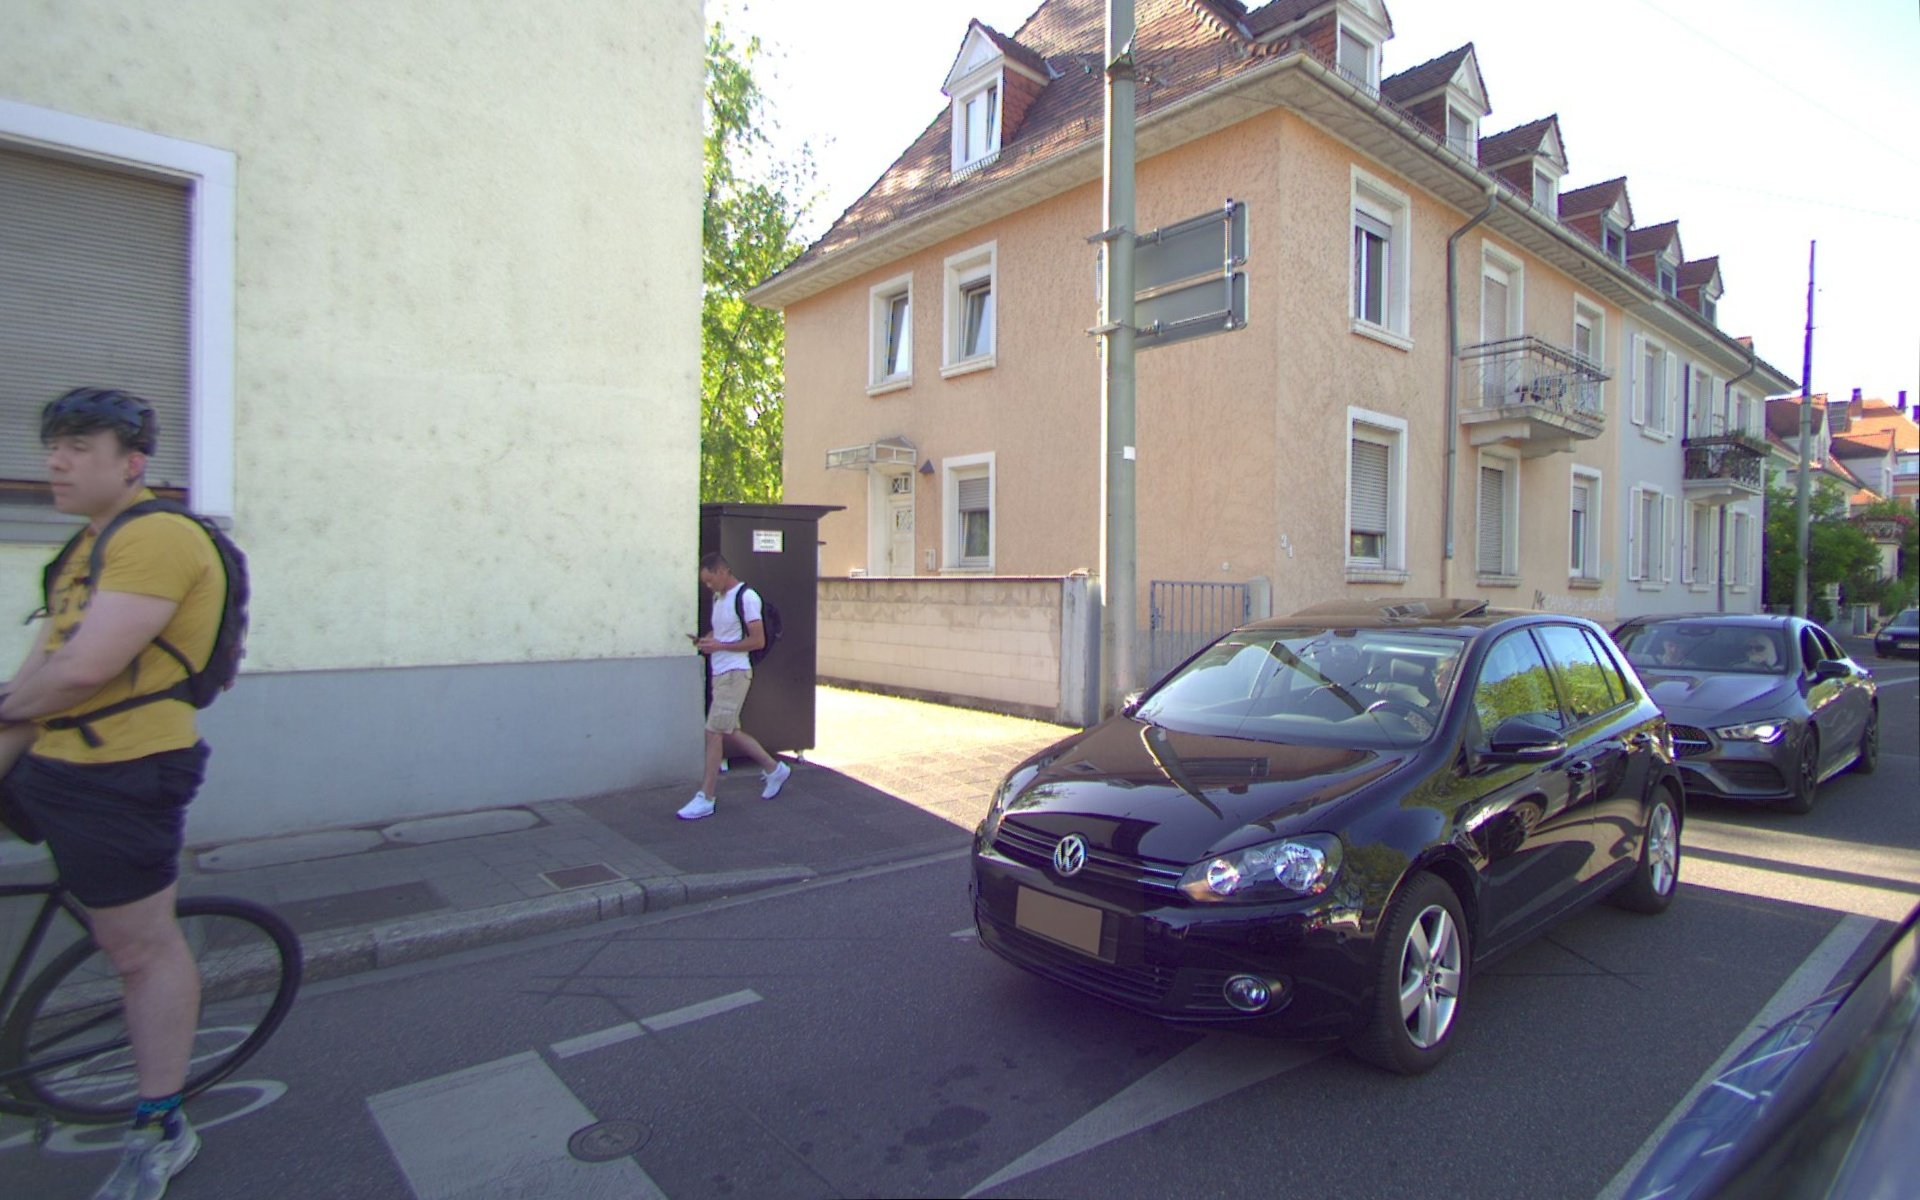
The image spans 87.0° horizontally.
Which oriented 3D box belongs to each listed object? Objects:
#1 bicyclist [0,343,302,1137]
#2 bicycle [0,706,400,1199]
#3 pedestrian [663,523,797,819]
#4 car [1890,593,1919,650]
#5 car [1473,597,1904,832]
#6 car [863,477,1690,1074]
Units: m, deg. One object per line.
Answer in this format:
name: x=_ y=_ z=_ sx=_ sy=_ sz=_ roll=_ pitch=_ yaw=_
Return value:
bicyclist: x=-2.215 y=0.293 z=2.528 sx=0.868 sy=1.684 sz=0.807 roll=0 pitch=0 yaw=-40
bicycle: x=-2.379 y=0.871 z=2.385 sx=1.749 sy=1.044 sz=0.756 roll=-1 pitch=0 yaw=-40
pedestrian: x=-1.465 y=0.414 z=6.494 sx=0.577 sy=1.776 sz=0.641 roll=4 pitch=4 yaw=11
car: x=26.729 y=0.557 z=27.420 sx=3.930 sy=1.476 sz=1.839 roll=-1 pitch=0 yaw=-41
car: x=6.272 y=0.711 z=8.517 sx=4.413 sy=1.437 sz=1.911 roll=-1 pitch=1 yaw=-40
car: x=1.698 y=0.491 z=4.564 sx=3.979 sy=1.527 sz=1.731 roll=2 pitch=-1 yaw=-41
